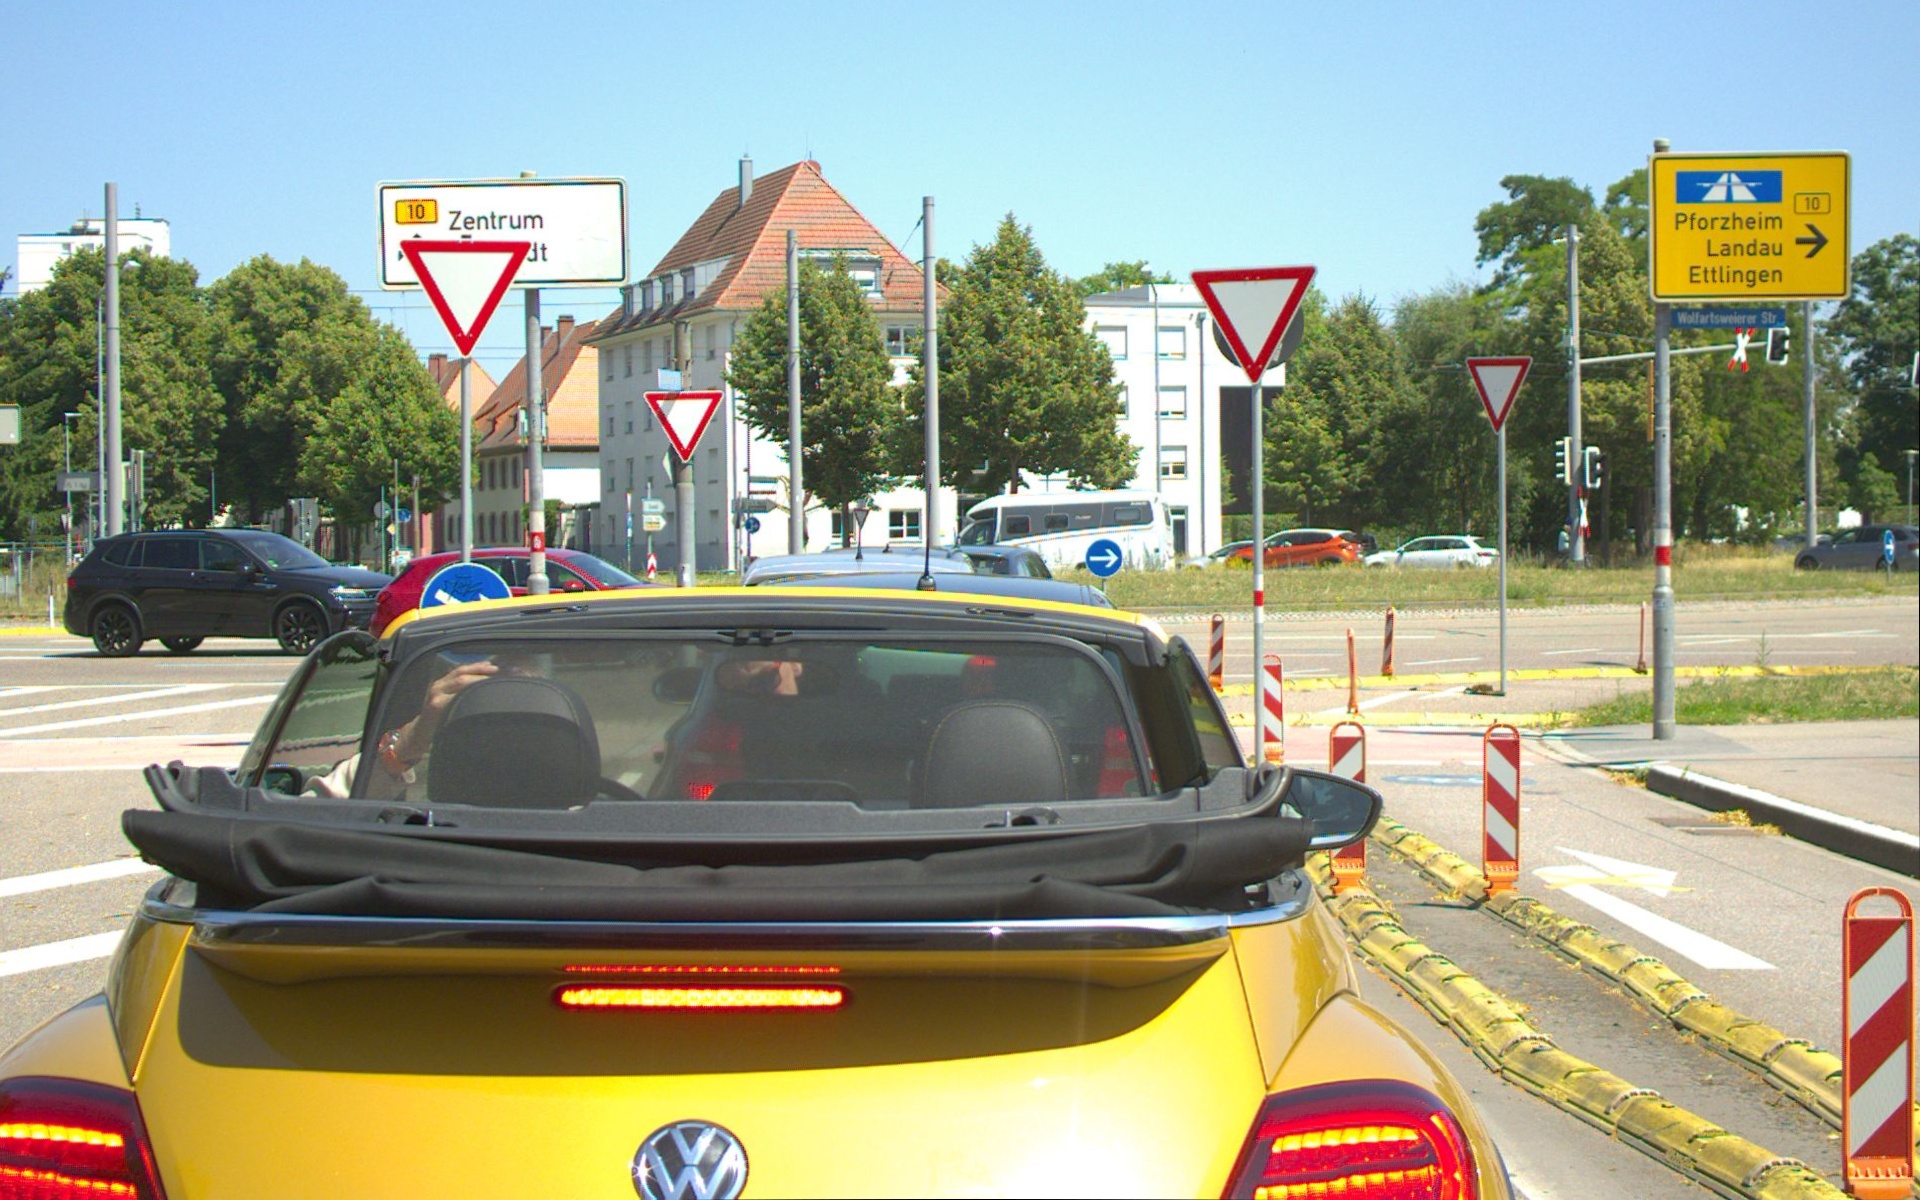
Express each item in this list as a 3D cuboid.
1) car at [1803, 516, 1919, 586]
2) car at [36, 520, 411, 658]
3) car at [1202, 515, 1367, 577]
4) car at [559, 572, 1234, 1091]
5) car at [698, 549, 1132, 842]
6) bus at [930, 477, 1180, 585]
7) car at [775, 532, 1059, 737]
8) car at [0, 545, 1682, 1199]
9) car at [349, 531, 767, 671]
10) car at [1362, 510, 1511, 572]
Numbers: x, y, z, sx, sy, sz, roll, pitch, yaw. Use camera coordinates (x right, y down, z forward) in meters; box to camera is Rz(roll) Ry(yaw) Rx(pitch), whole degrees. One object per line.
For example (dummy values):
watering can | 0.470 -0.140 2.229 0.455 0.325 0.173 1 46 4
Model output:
car | 23.760 -1.240 87.884 1.842 1.730 4.445 1 1 -26
car | -9.809 -0.160 45.887 4.409 1.589 1.999 0 7 18
car | 9.389 -1.553 99.326 4.434 1.730 1.847 1 1 19
car | -0.199 0.624 11.663 1.851 1.361 4.258 -1 1 -1
car | -0.243 0.439 18.640 2.065 1.377 4.258 1 1 -1
bus | 2.892 -2.091 104.445 7.257 3.161 2.260 1 0 12
car | -0.342 0.209 27.529 2.065 1.476 4.543 -1 1 -1
car | -0.296 0.677 5.082 1.765 1.476 4.258 1 1 -1
car | -4.647 -0.002 40.028 4.407 1.522 1.999 1 1 12
car | 14.049 -1.731 101.380 3.992 1.766 1.784 1 1 23
